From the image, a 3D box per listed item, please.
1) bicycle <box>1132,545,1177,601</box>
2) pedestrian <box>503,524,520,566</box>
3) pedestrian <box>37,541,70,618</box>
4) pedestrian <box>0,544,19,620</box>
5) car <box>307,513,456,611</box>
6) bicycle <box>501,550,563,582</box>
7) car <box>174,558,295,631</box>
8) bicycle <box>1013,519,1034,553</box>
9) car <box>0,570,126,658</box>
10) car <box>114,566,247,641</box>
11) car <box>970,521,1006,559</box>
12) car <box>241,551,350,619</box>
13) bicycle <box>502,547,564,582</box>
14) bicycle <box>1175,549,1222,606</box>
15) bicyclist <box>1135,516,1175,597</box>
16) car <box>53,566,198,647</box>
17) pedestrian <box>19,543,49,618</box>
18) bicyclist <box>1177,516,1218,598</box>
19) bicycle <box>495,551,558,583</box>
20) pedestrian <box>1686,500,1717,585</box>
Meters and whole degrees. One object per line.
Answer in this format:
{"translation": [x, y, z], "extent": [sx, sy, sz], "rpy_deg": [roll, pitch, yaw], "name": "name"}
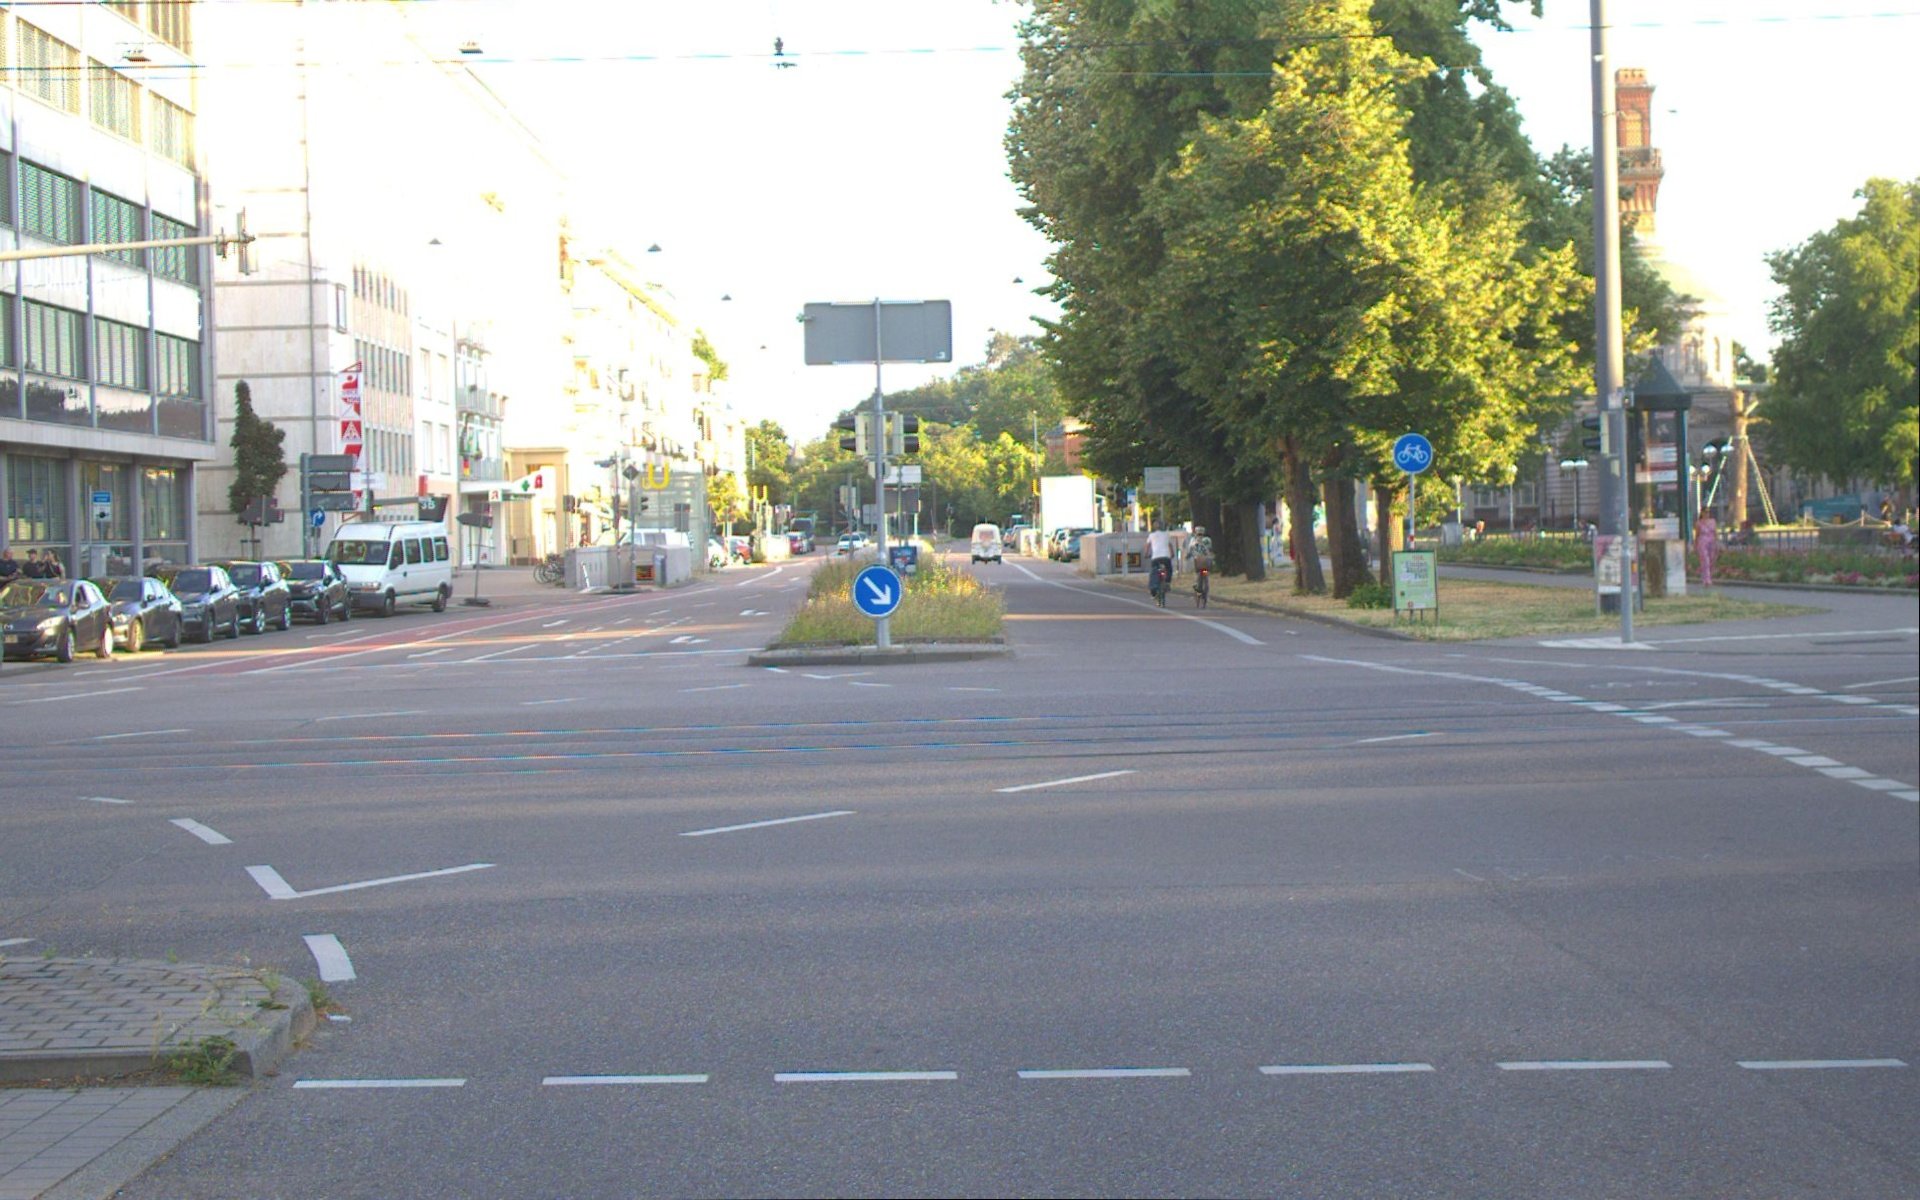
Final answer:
{"translation": [4.105, -0.575, 72.661], "extent": [0.746, 1.140, 2.505], "rpy_deg": [-2, 1, -1], "name": "bicycle"}
{"translation": [-21.539, -2.629, 164.990], "extent": [0.680, 2.007, 0.545], "rpy_deg": [-2, 1, 0], "name": "pedestrian"}
{"translation": [-20.071, -0.452, 76.159], "extent": [0.551, 1.673, 0.500], "rpy_deg": [-2, 1, -1], "name": "pedestrian"}
{"translation": [-21.299, -0.409, 76.444], "extent": [0.551, 1.673, 0.500], "rpy_deg": [-2, 1, -1], "name": "pedestrian"}
{"translation": [-15.292, -1.051, 91.227], "extent": [2.002, 2.469, 5.865], "rpy_deg": [-1, 1, 10], "name": "car"}
{"translation": [-15.818, -1.247, 127.023], "extent": [2.205, 1.108, 0.689], "rpy_deg": [-2, 1, -2], "name": "bicycle"}
{"translation": [-16.550, -0.147, 78.551], "extent": [1.920, 1.563, 4.000], "rpy_deg": [-2, 1, -1], "name": "car"}
{"translation": [3.846, -3.878, 207.905], "extent": [1.002, 2.007, 4.000], "rpy_deg": [-1, 1, 4], "name": "bicycle"}
{"translation": [-16.480, 0.235, 61.939], "extent": [1.920, 1.459, 4.103], "rpy_deg": [-2, 1, -1], "name": "car"}
{"translation": [-16.572, 0.056, 73.249], "extent": [1.920, 1.459, 4.000], "rpy_deg": [-2, 1, -1], "name": "car"}
{"translation": [1.257, -2.666, 153.500], "extent": [1.408, 1.636, 4.000], "rpy_deg": [-2, 1, -2], "name": "car"}
{"translation": [-16.352, -0.381, 84.777], "extent": [1.920, 1.563, 4.000], "rpy_deg": [-2, 1, -1], "name": "car"}
{"translation": [-15.999, -1.341, 128.878], "extent": [2.205, 1.232, 0.839], "rpy_deg": [-2, 1, -2], "name": "bicycle"}
{"translation": [5.010, -0.483, 72.279], "extent": [0.746, 1.140, 2.505], "rpy_deg": [-2, 1, -1], "name": "bicycle"}
{"translation": [4.097, -0.919, 72.413], "extent": [0.746, 1.658, 0.873], "rpy_deg": [-2, 1, -1], "name": "bicyclist"}
{"translation": [-16.568, 0.105, 68.435], "extent": [1.920, 1.459, 4.000], "rpy_deg": [-2, 1, -1], "name": "car"}
{"translation": [-20.688, -0.438, 76.812], "extent": [0.500, 1.673, 0.500], "rpy_deg": [-2, 1, -1], "name": "pedestrian"}
{"translation": [4.995, -0.908, 72.377], "extent": [0.746, 1.685, 0.799], "rpy_deg": [-2, 1, -1], "name": "bicyclist"}
{"translation": [-15.835, -1.219, 125.542], "extent": [2.205, 1.108, 0.619], "rpy_deg": [-2, 1, -2], "name": "bicycle"}
{"translation": [14.629, -1.141, 67.822], "extent": [0.460, 1.651, 0.567], "rpy_deg": [-1, 1, -1], "name": "pedestrian"}
